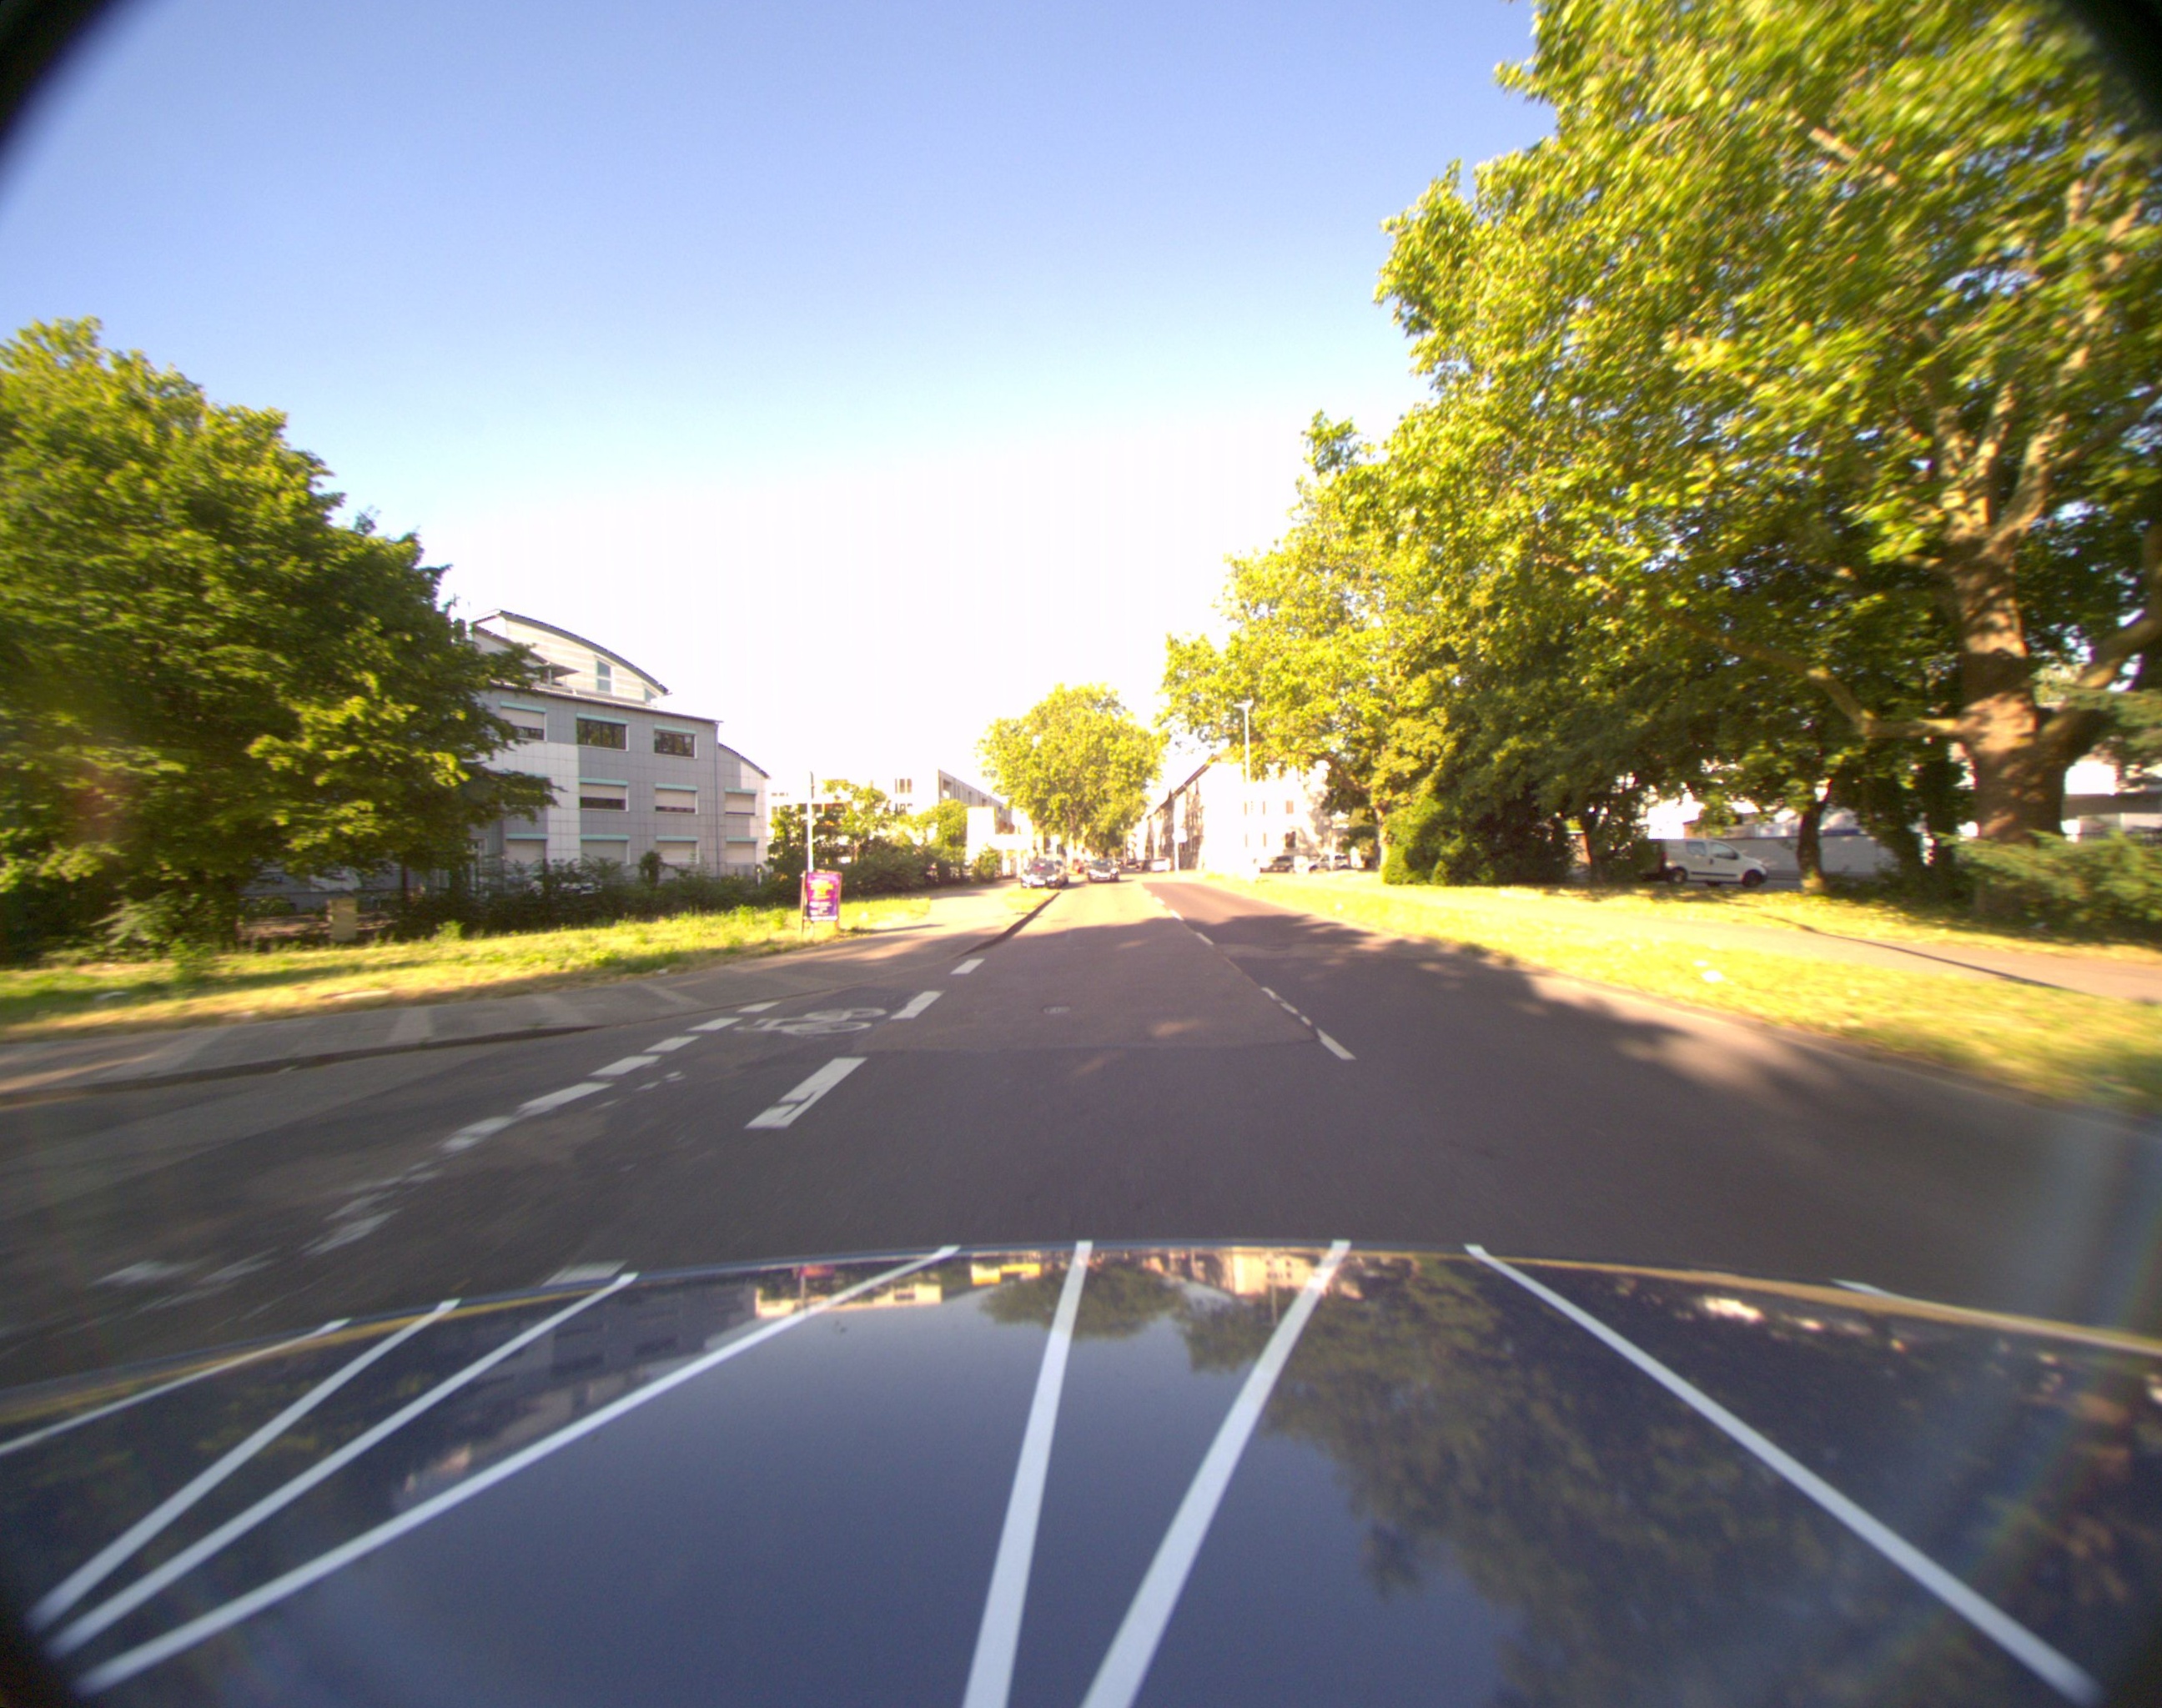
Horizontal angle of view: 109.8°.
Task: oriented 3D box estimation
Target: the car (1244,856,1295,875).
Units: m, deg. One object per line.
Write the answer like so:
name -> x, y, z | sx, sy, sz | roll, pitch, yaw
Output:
car -> 15.573, 0.967, 62.756 | 3.993, 1.410, 1.916 | -1, 1, 14

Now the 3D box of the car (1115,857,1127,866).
car -> 7.044, 1.350, 134.340 | 1.901, 1.581, 4.070 | 0, 0, 1

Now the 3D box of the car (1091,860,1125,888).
car -> 1.525, 1.139, 44.216 | 1.870, 1.471, 4.086 | -1, 0, 0

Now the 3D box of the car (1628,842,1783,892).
car -> 21.593, 0.433, 26.364 | 3.998, 1.674, 1.727 | 0, 0, -2

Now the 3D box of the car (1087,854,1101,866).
car -> 1.851, 0.853, 109.955 | 1.869, 1.603, 4.087 | 0, 0, 3

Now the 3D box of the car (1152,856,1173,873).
car -> 7.872, 0.991, 73.313 | 1.765, 1.475, 4.109 | -3, 0, 4

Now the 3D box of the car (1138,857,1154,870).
car -> 8.367, 1.207, 98.150 | 1.869, 1.475, 4.088 | -3, 0, 4

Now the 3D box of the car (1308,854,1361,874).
car -> 20.456, 0.766, 61.463 | 3.992, 1.552, 1.866 | 0, 1, 14

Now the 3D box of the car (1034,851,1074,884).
car -> -1.480, 0.726, 43.420 | 1.998, 1.749, 4.917 | 0, 0, 2

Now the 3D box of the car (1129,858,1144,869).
car -> 8.276, 1.405, 114.214 | 1.870, 1.603, 4.086 | -2, 0, 0

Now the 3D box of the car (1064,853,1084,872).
car -> -0.671, 0.797, 72.939 | 1.602, 1.680, 4.337 | 0, 0, 3

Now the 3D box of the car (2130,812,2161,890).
car -> 33.978, -0.139, 21.937 | 4.324, 2.275, 2.001 | -1, 0, 4

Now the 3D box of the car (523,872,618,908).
car -> -24.485, 1.685, 36.453 | 3.990, 1.565, 1.912 | 0, 1, 24

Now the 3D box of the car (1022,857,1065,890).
car -> -1.808, 0.925, 37.891 | 1.786, 1.506, 4.689 | 0, 0, 2
